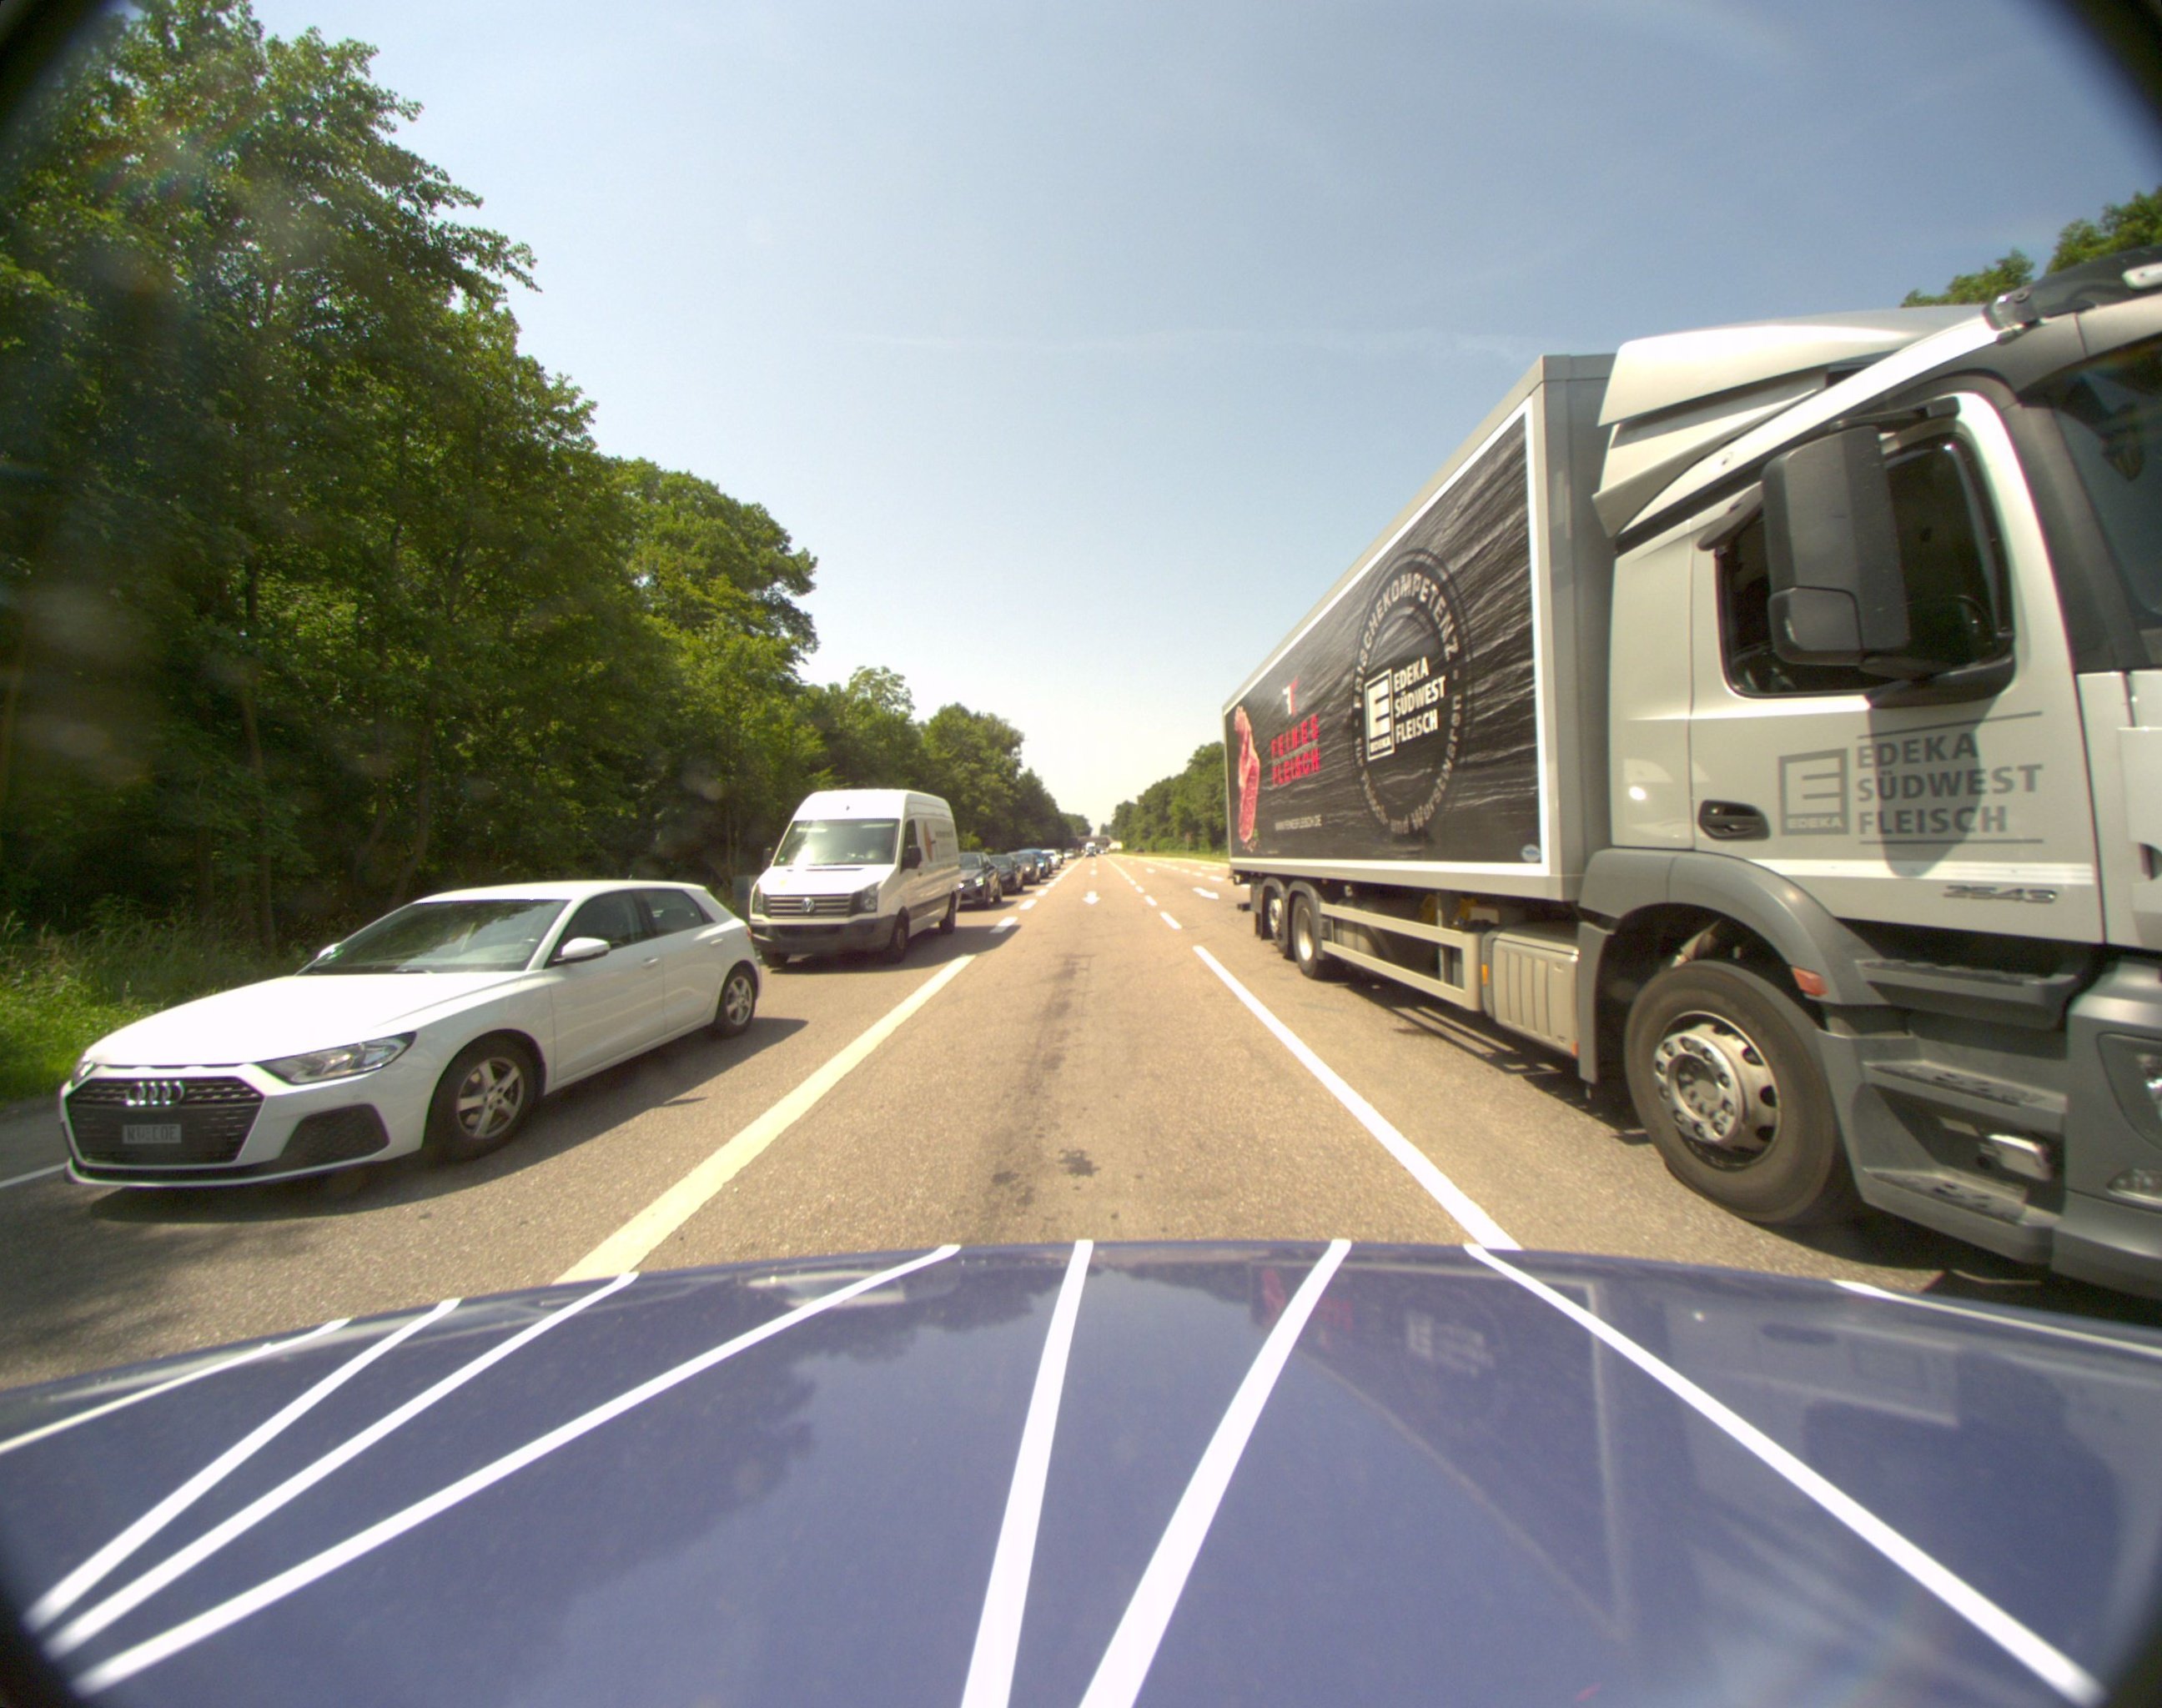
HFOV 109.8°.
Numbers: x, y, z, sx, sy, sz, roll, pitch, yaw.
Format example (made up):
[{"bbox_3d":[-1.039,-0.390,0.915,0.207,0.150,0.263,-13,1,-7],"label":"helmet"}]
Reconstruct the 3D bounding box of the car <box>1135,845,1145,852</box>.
[{"bbox_3d":[13.315,-1.237,171.742,1.998,1.543,3.999,-2,1,1],"label":"car"}]

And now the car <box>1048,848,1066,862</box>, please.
[{"bbox_3d":[-2.474,0.090,79.993,1.796,1.431,4.228,-1,1,0],"label":"car"}]

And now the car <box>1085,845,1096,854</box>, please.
[{"bbox_3d":[1.658,-0.790,135.051,1.992,1.575,4.364,-1,1,0],"label":"car"}]

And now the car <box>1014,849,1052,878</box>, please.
[{"bbox_3d":[-2.535,0.500,41.219,1.796,1.431,4.228,-1,1,0],"label":"car"}]

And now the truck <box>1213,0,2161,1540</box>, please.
[{"bbox_3d":[3.660,-0.541,6.998,2.753,3.863,11.318,-2,1,0],"label":"truck"}]

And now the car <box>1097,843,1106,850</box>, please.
[{"bbox_3d":[5.404,-2.005,198.166,1.998,1.868,4.001,0,1,5],"label":"car"}]

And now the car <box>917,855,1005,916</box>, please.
[{"bbox_3d":[-3.272,0.804,21.532,1.796,1.452,4.228,-2,1,0],"label":"car"}]

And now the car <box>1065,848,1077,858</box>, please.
[{"bbox_3d":[-1.450,-0.186,114.944,1.796,1.431,4.228,-1,1,0],"label":"car"}]

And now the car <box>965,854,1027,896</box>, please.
[{"bbox_3d":[-3.044,0.722,27.914,1.796,1.348,4.228,-1,1,0],"label":"car"}]

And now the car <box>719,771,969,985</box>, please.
[{"bbox_3d":[-3.438,0.286,12.598,1.974,2.630,6.060,-2,1,2],"label":"car"}]

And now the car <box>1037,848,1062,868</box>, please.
[{"bbox_3d":[-2.386,0.265,59.034,1.796,1.431,4.228,0,1,0],"label":"car"}]

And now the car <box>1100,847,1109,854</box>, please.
[{"bbox_3d":[5.299,-0.710,173.476,1.998,1.543,3.999,0,1,1],"label":"car"}]

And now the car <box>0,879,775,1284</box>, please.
[{"bbox_3d":[-3.856,1.016,5.097,1.693,1.427,4.001,-3,1,4],"label":"car"}]

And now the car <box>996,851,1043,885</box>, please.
[{"bbox_3d":[-2.788,0.607,35.165,1.796,1.431,4.228,-1,1,0],"label":"car"}]
